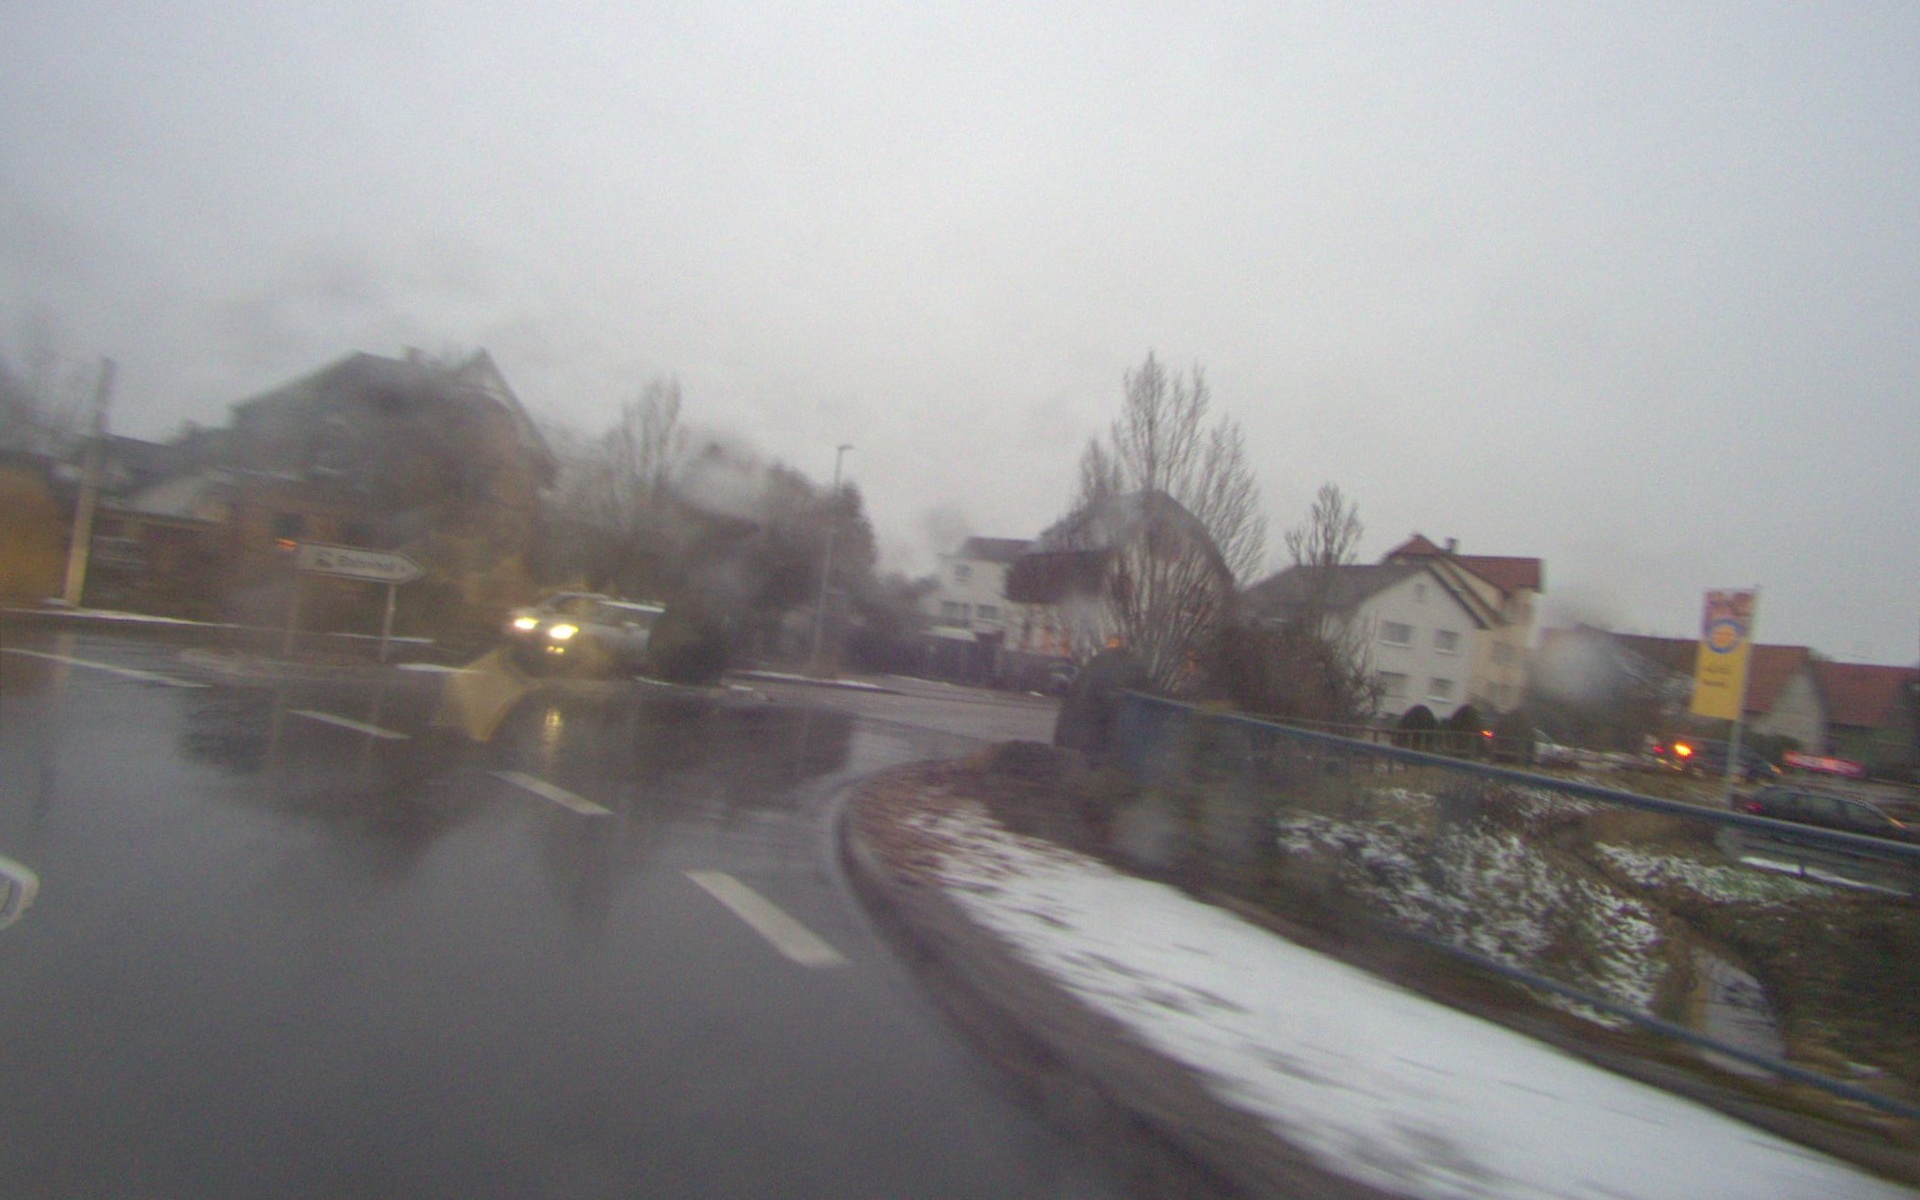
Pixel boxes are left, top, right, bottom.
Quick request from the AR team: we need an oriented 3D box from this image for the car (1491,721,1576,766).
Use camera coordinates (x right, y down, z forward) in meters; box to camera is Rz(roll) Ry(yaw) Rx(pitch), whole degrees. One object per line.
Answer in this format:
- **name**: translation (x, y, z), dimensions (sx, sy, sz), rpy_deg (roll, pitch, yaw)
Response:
- **car**: translation (24.683, 6.179, 43.285), dimensions (3.823, 1.508, 1.744), rpy_deg (10, -4, -37)

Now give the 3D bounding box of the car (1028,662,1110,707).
- **car**: translation (4.970, 3.871, 46.291), dimensions (1.891, 1.504, 3.977), rpy_deg (7, -1, -24)

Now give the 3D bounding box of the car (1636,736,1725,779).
- **car**: translation (34.899, 7.627, 48.721), dimensions (3.667, 1.508, 1.908), rpy_deg (9, -4, -25)

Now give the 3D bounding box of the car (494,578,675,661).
- **car**: translation (-12.148, 0.668, 32.651), dimensions (5.184, 1.939, 1.929), rpy_deg (9, -4, -25)

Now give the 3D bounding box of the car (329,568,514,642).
- **car**: translation (-18.211, 0.185, 34.367), dimensions (5.266, 1.888, 2.353), rpy_deg (7, 0, -26)

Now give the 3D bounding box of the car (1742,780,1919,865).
- **car**: translation (22.588, 5.681, 25.785), dimensions (3.893, 1.418, 1.607), rpy_deg (5, -3, 38)

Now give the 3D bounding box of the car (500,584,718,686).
- **car**: translation (-6.790, 0.747, 19.814), dimensions (1.636, 1.508, 3.707), rpy_deg (5, -4, 34)
